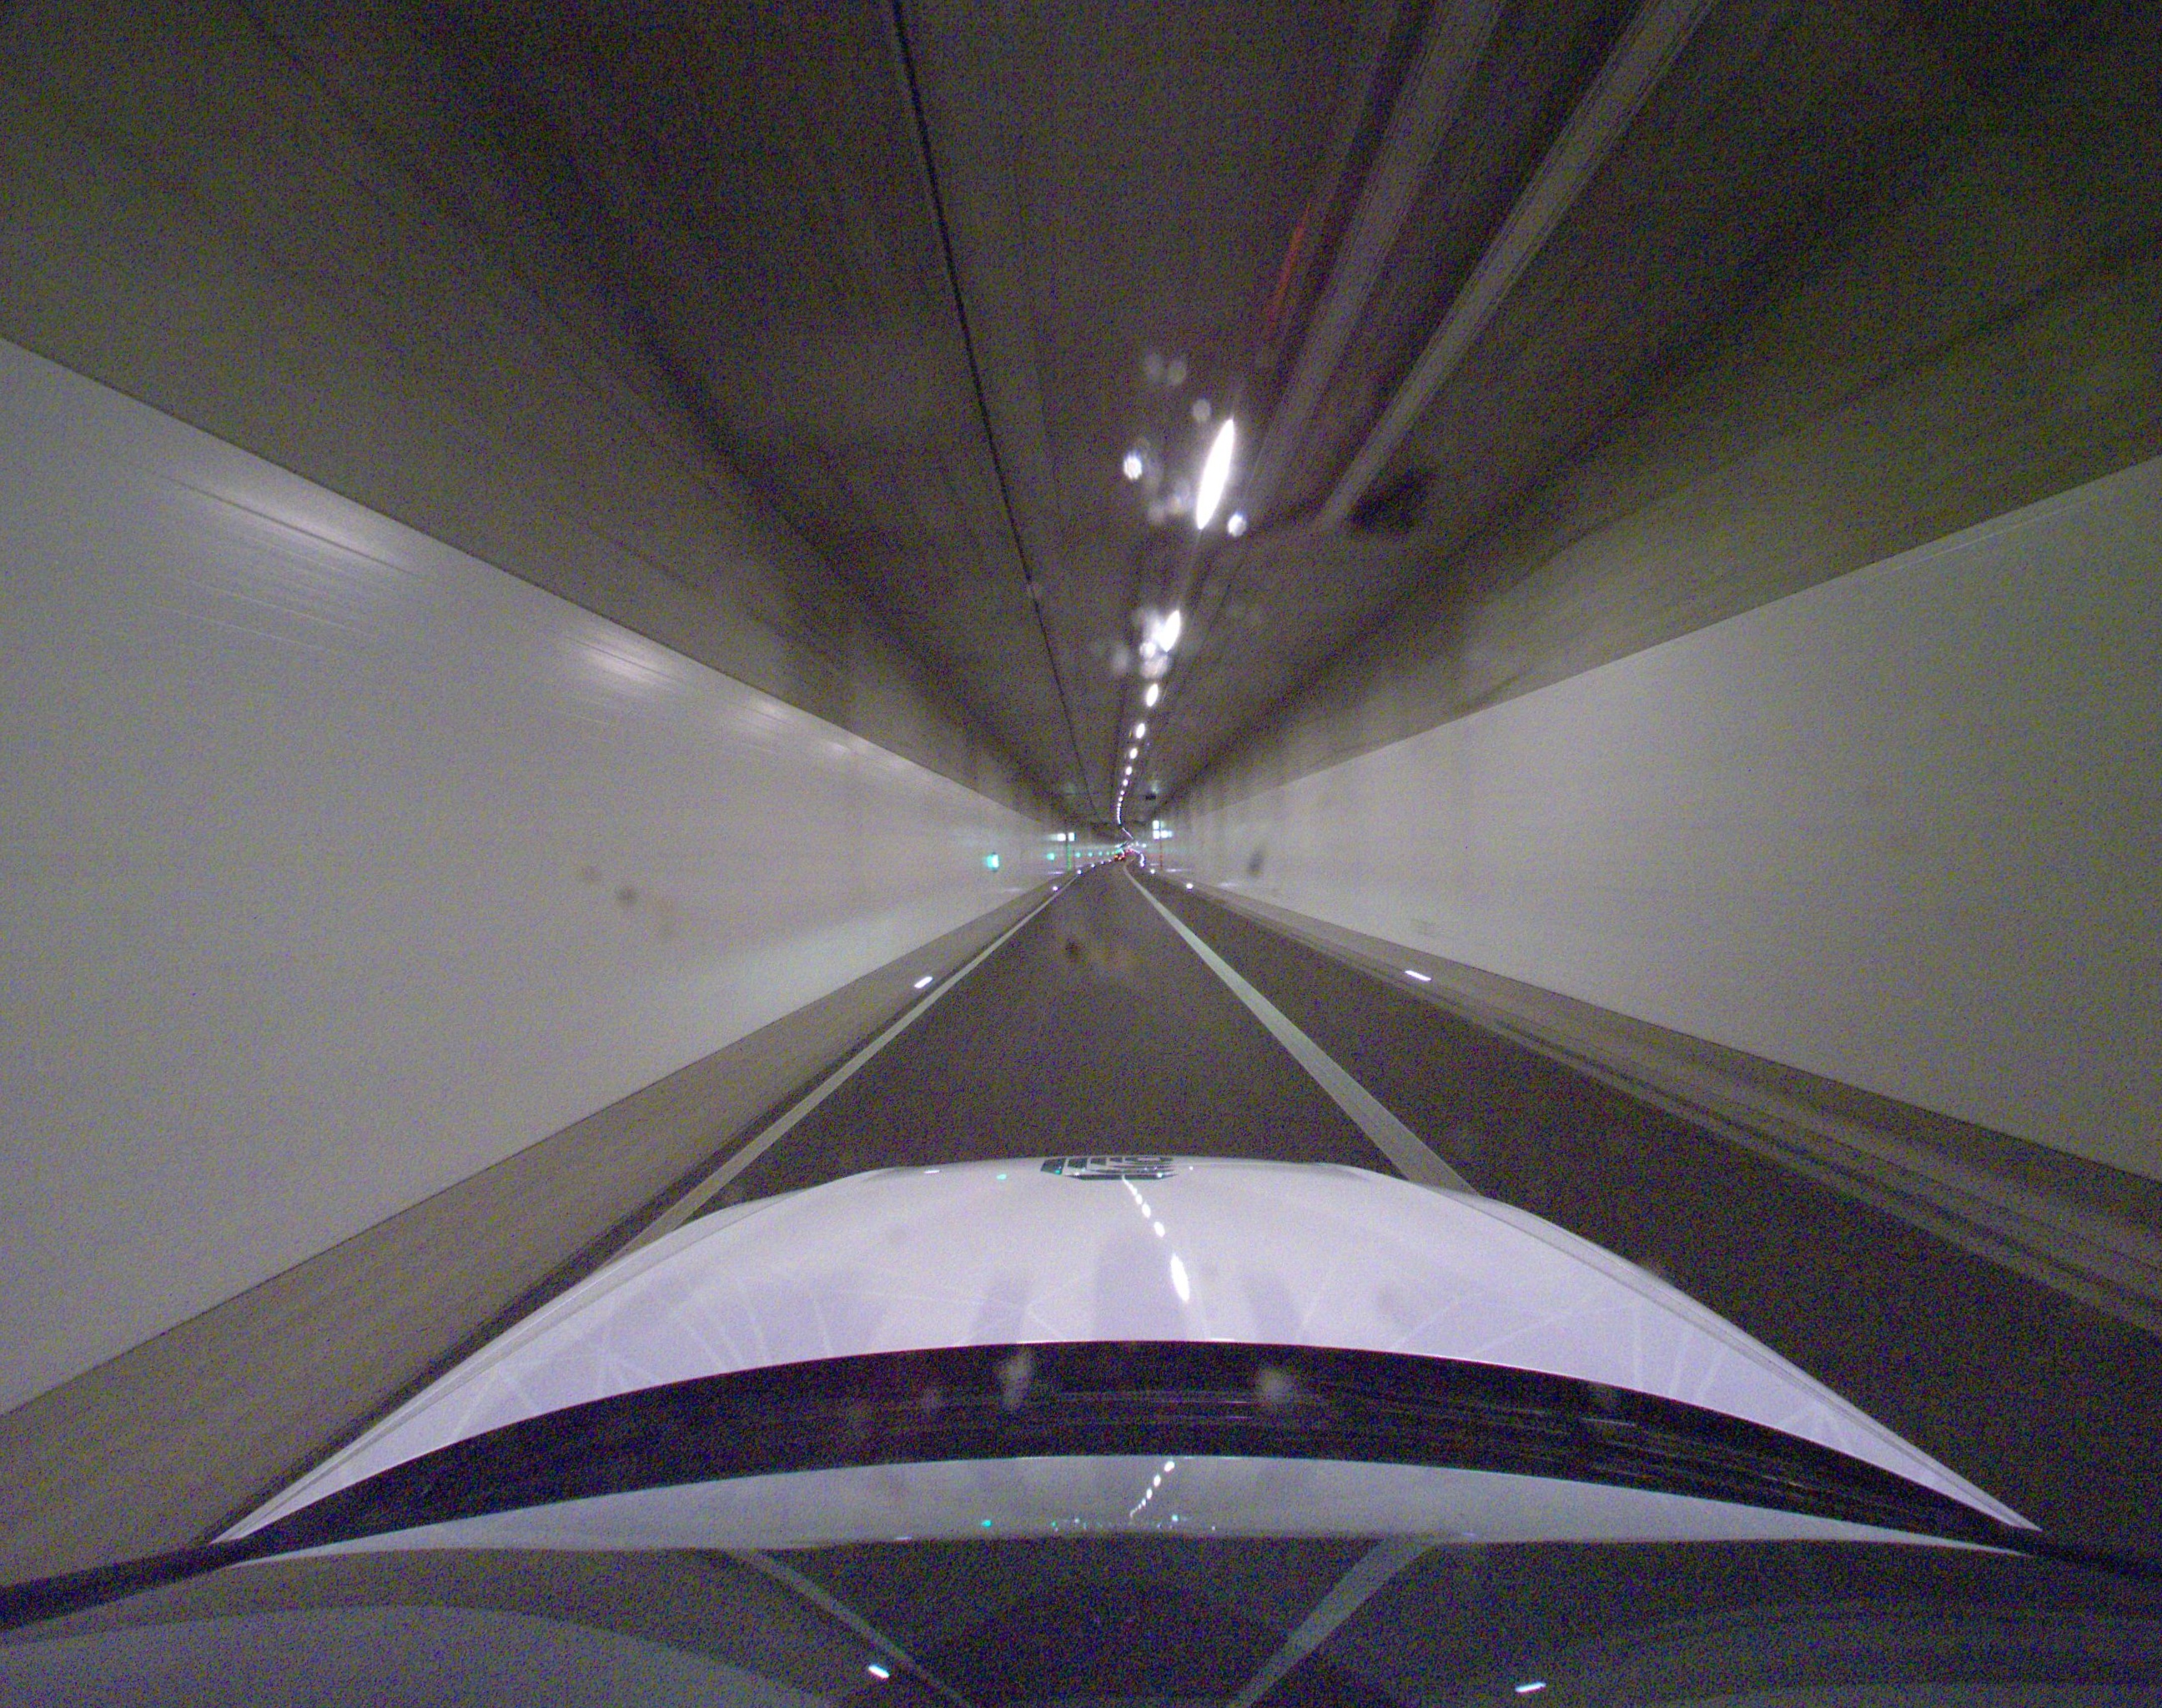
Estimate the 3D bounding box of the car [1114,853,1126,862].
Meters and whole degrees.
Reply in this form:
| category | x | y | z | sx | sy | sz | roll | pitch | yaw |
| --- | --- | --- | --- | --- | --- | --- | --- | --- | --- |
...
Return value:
| category | x | y | z | sx | sy | sz | roll | pitch | yaw |
| --- | --- | --- | --- | --- | --- | --- | --- | --- | --- |
| car | 6.501 | 0.623 | 135.618 | 1.986 | 1.420 | 4.002 | 0 | 0 | 2 |
